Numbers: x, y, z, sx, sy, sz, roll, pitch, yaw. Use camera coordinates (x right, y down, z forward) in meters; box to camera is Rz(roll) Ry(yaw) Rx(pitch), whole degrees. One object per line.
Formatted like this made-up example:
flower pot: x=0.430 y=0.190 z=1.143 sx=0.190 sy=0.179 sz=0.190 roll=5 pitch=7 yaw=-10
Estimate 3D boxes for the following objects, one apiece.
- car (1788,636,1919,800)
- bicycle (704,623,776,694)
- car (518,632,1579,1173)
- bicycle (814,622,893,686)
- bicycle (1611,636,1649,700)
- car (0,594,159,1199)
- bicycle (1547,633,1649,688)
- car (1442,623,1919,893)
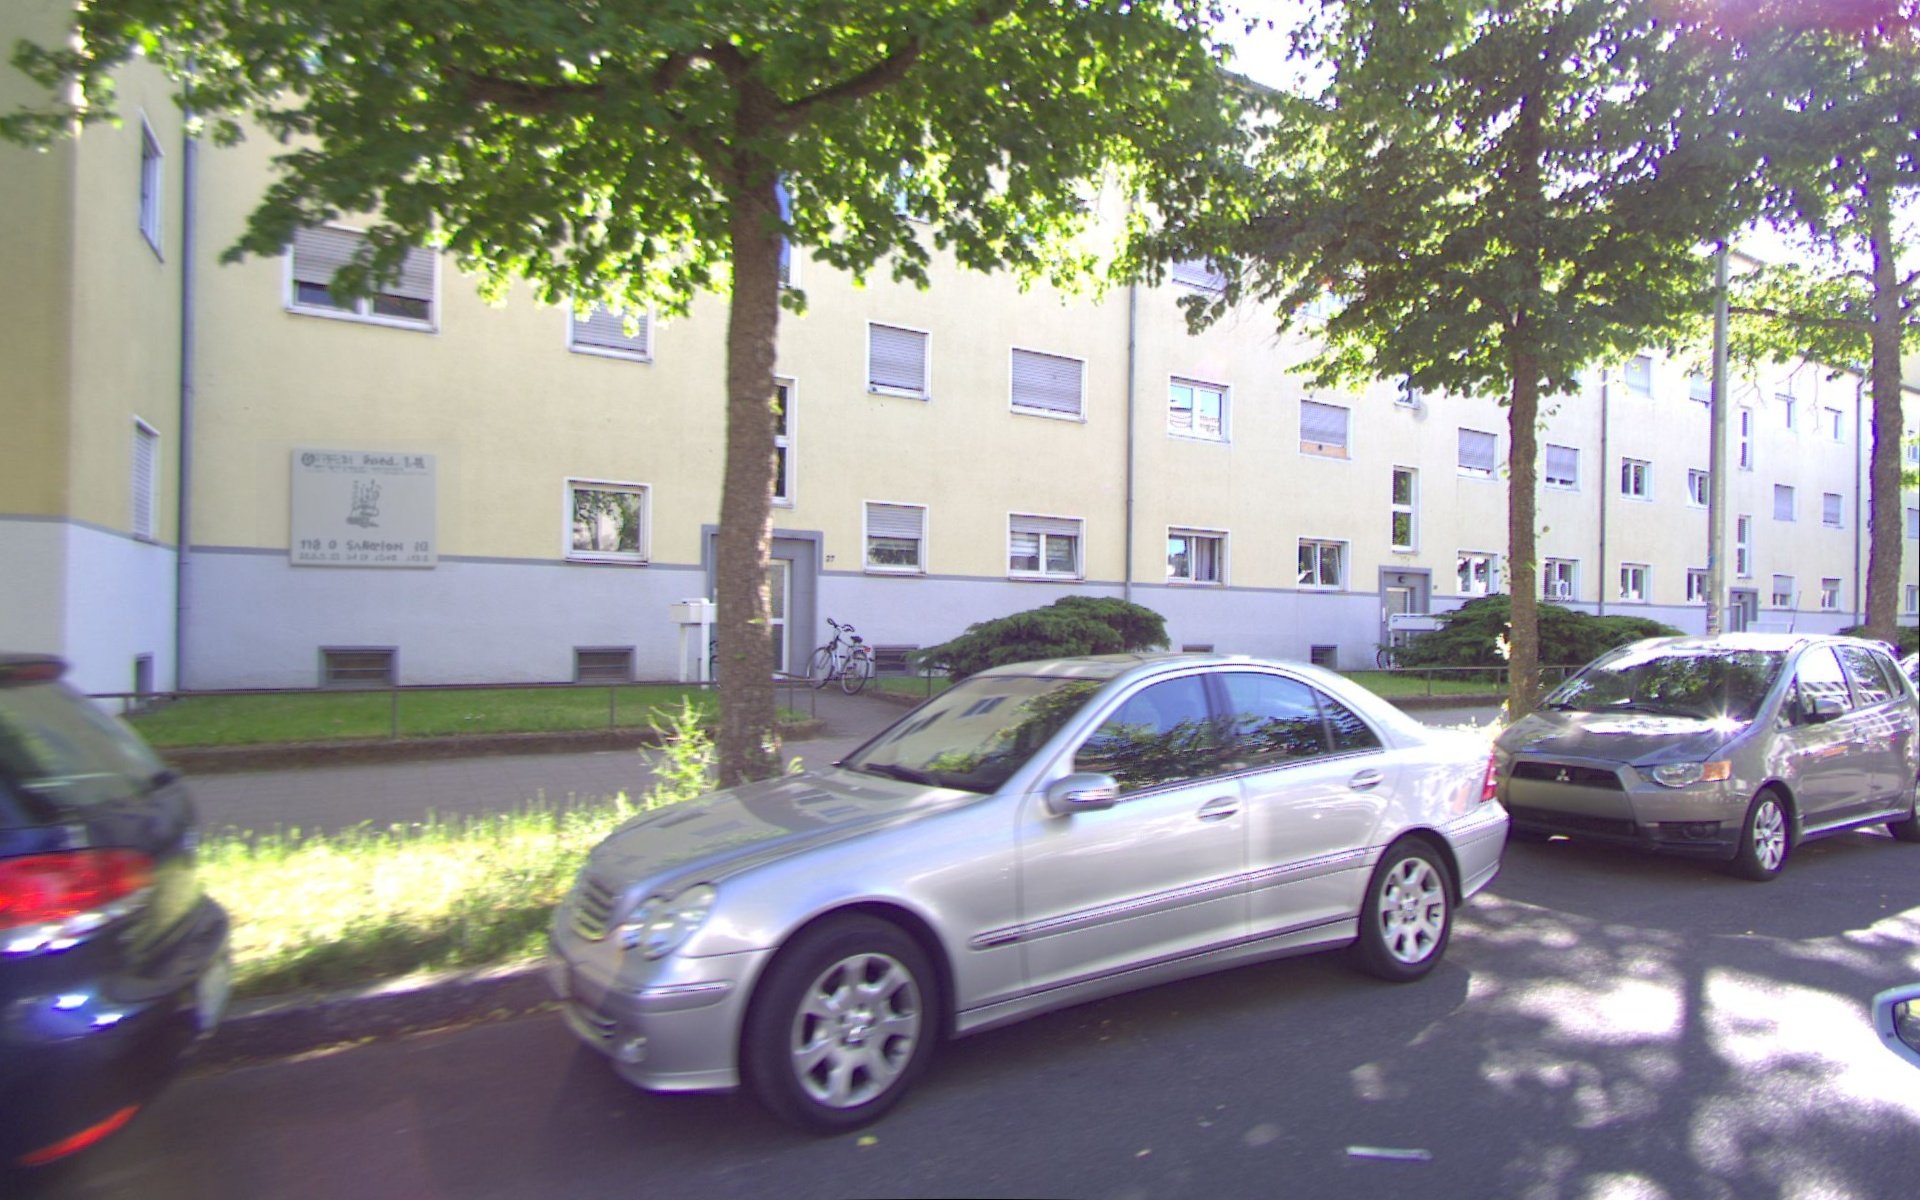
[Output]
car: x=10.551 y=1.104 z=10.139 sx=4.630 sy=1.463 sz=1.785 roll=1 pitch=-2 yaw=-29
bicycle: x=-3.148 y=0.810 z=14.309 sx=0.476 sy=0.943 sz=1.623 roll=1 pitch=-1 yaw=-32
car: x=0.615 y=0.856 z=4.526 sx=4.619 sy=1.387 sz=1.737 roll=1 pitch=-2 yaw=-30
bicycle: x=-1.702 y=0.826 z=15.874 sx=0.477 sy=0.943 sz=1.620 roll=1 pitch=-1 yaw=-37
bicycle: x=12.407 y=1.227 z=18.581 sx=0.479 sy=1.095 sz=1.839 roll=3 pitch=1 yaw=36
car: x=-4.004 y=0.695 z=1.702 sx=3.886 sy=1.478 sz=1.657 roll=1 pitch=-1 yaw=-30
bicycle: x=13.728 y=1.273 z=21.655 sx=0.481 sy=1.095 sz=1.829 roll=1 pitch=-1 yaw=-32
car: x=5.674 y=0.987 z=7.496 sx=4.217 sy=1.535 sz=1.613 roll=1 pitch=-3 yaw=-29
